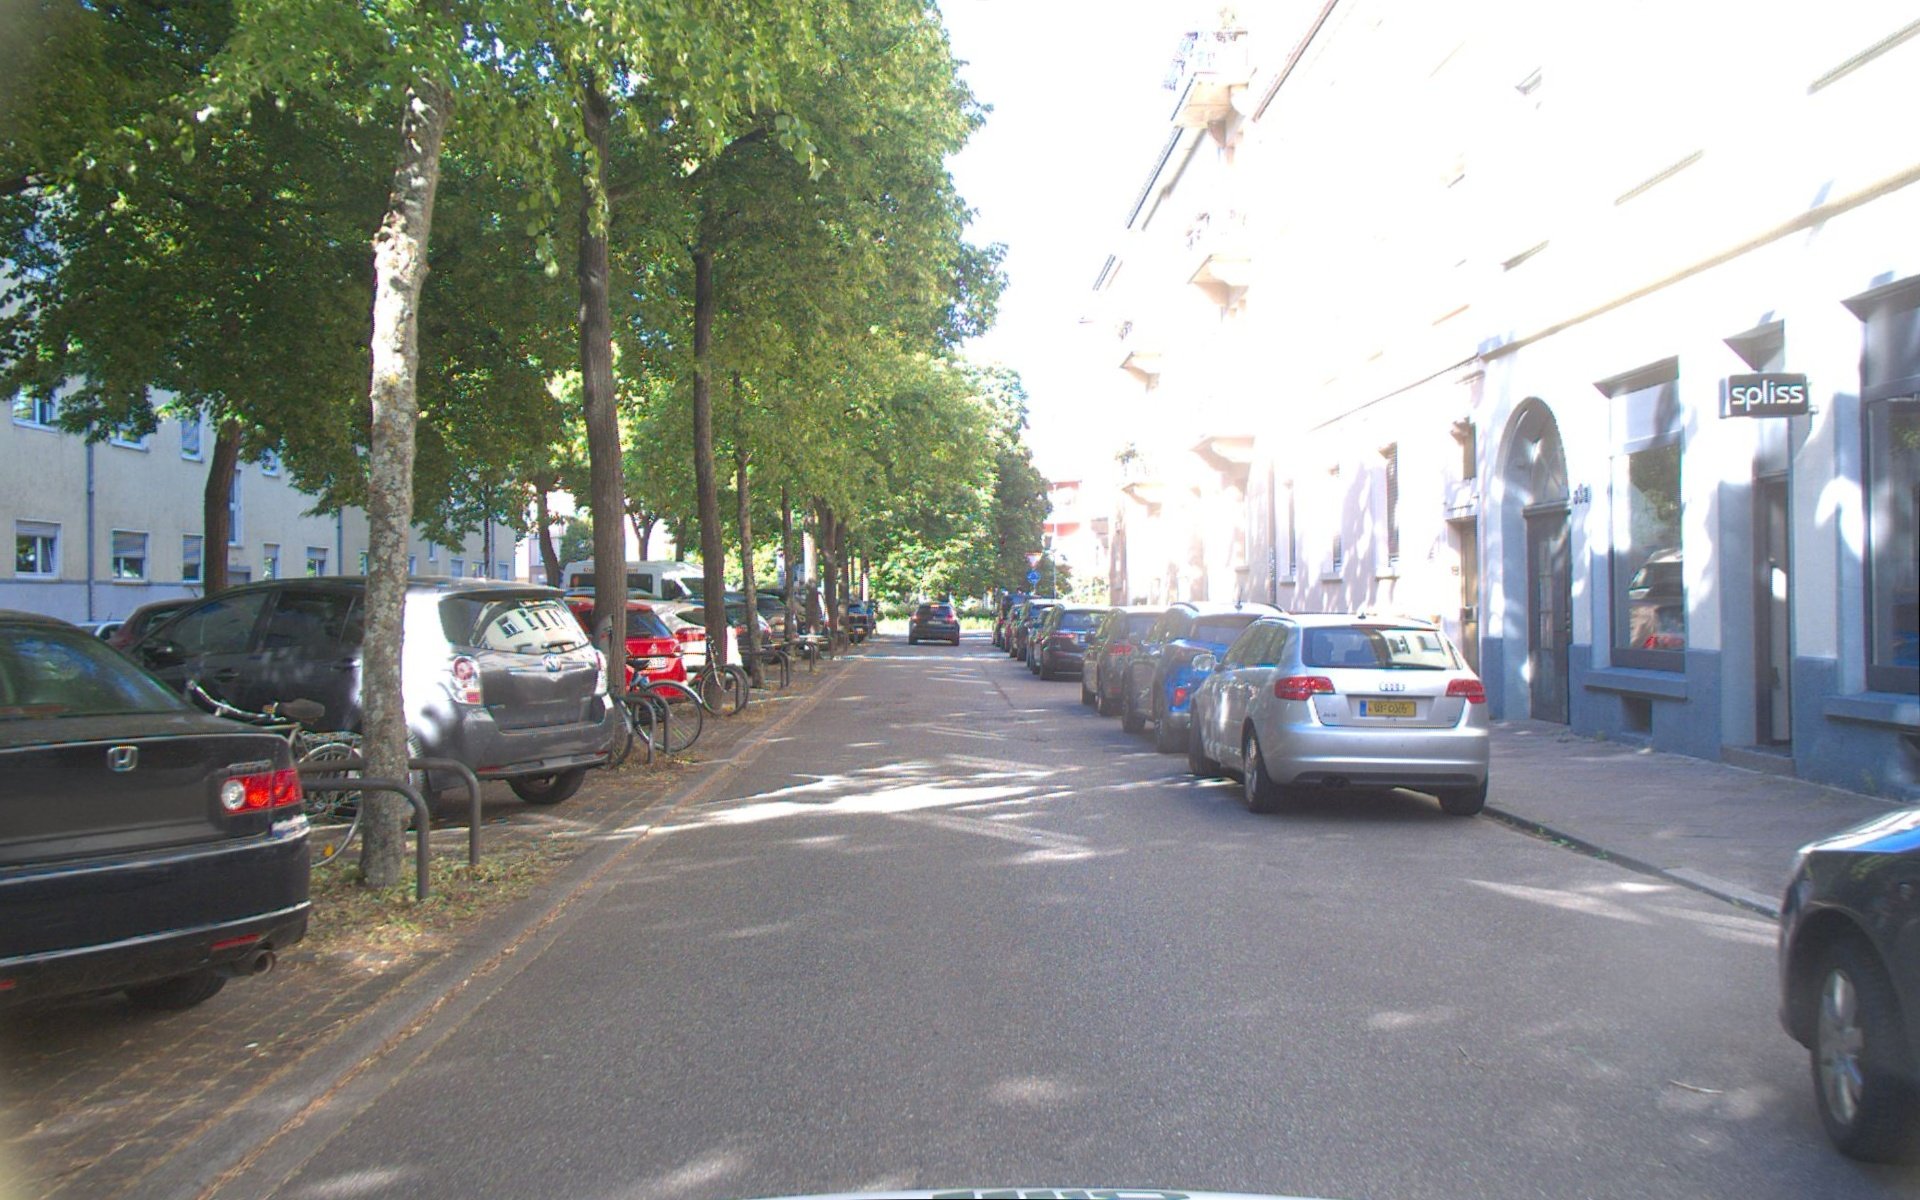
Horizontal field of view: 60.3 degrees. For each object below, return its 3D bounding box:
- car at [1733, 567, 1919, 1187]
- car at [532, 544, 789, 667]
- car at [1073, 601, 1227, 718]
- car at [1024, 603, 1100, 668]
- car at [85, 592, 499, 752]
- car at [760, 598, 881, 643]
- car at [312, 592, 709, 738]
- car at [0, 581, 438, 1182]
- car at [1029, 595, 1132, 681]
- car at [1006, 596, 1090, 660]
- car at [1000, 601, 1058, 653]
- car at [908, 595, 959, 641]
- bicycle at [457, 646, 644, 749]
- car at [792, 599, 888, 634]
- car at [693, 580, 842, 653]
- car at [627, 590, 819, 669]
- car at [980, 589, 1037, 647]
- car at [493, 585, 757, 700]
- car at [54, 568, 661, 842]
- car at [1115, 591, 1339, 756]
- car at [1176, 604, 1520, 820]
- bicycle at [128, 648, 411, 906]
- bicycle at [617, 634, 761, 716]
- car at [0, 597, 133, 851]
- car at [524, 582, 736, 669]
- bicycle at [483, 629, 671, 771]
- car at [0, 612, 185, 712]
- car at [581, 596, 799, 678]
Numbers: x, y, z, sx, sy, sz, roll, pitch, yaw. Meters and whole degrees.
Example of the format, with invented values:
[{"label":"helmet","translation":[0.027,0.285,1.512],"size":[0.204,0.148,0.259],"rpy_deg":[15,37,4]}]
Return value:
[{"label":"car","translation":[3.213,0.705,3.214],"size":[1.548,1.578,4.041],"rpy_deg":[0,0,0]},{"label":"car","translation":[-7.734,0.182,42.858],"size":[5.937,2.668,2.457],"rpy_deg":[-5,-2,14]},{"label":"car","translation":[2.608,0.775,23.513],"size":[1.658,1.493,4.004],"rpy_deg":[1,0,-1]},{"label":"car","translation":[2.382,0.810,39.287],"size":[1.557,1.440,3.632],"rpy_deg":[1,0,0]},{"label":"car","translation":[-6.985,0.678,17.264],"size":[4.023,1.499,1.869],"rpy_deg":[0,0,28]},{"label":"car","translation":[-4.880,0.736,57.642],"size":[4.015,1.492,1.862],"rpy_deg":[1,-1,-11]},{"label":"car","translation":[-5.313,0.688,19.418],"size":[4.525,1.512,1.758],"rpy_deg":[1,0,28]},{"label":"car","translation":[-3.750,0.743,5.718],"size":[3.937,1.500,1.621],"rpy_deg":[-1,0,34]},{"label":"car","translation":[2.389,0.718,33.738],"size":[1.768,1.591,4.320],"rpy_deg":[-2,0,0]},{"label":"car","translation":[2.379,0.735,45.928],"size":[1.827,1.672,4.488],"rpy_deg":[1,0,-3]},{"label":"car","translation":[2.234,0.847,54.410],"size":[1.612,1.564,3.999],"rpy_deg":[2,0,-1]},{"label":"car","translation":[-0.924,0.612,58.995],"size":[1.679,1.509,4.144],"rpy_deg":[-2,0,0]},{"label":"bicycle","translation":[-4.036,0.947,16.276],"size":[1.858,0.935,0.379],"rpy_deg":[1,0,19]},{"label":"car","translation":[-5.205,0.727,71.651],"size":[4.064,1.507,1.767],"rpy_deg":[-1,-1,40]},{"label":"car","translation":[-5.289,0.451,45.346],"size":[3.769,1.922,1.839],"rpy_deg":[-1,0,33]},{"label":"car","translation":[-5.468,0.649,38.100],"size":[4.180,1.670,1.653],"rpy_deg":[1,0,27]},{"label":"car","translation":[1.709,0.616,59.341],"size":[1.765,1.903,4.272],"rpy_deg":[3,0,-1]},{"label":"car","translation":[-5.127,0.613,25.320],"size":[3.608,1.624,1.772],"rpy_deg":[1,0,24]},{"label":"car","translation":[-4.348,0.634,11.914],"size":[3.996,1.682,1.861],"rpy_deg":[1,0,26]},{"label":"car","translation":[2.808,0.713,18.265],"size":[1.731,1.579,4.183],"rpy_deg":[-1,0,-1]},{"label":"car","translation":[2.925,0.767,13.405],"size":[1.734,1.456,4.290],"rpy_deg":[0,0,-1]},{"label":"bicycle","translation":[-3.511,0.850,8.562],"size":[0.418,1.150,1.680],"rpy_deg":[0,0,15]},{"label":"bicycle","translation":[-3.442,0.951,21.016],"size":[1.772,1.011,0.426],"rpy_deg":[-1,0,14]},{"label":"car","translation":[-7.134,0.690,10.197],"size":[4.110,1.415,1.813],"rpy_deg":[0,0,33]},{"label":"car","translation":[-7.204,0.559,36.069],"size":[4.294,1.808,1.897],"rpy_deg":[-1,-1,27]},{"label":"bicycle","translation":[-3.370,0.859,14.532],"size":[1.650,1.179,0.379],"rpy_deg":[1,0,19]},{"label":"car","translation":[-15.873,1.071,29.916],"size":[1.855,1.592,4.158],"rpy_deg":[-2,0,-3]},{"label":"car","translation":[-5.294,0.703,32.382],"size":[4.017,1.507,1.729],"rpy_deg":[0,-1,28]}]
